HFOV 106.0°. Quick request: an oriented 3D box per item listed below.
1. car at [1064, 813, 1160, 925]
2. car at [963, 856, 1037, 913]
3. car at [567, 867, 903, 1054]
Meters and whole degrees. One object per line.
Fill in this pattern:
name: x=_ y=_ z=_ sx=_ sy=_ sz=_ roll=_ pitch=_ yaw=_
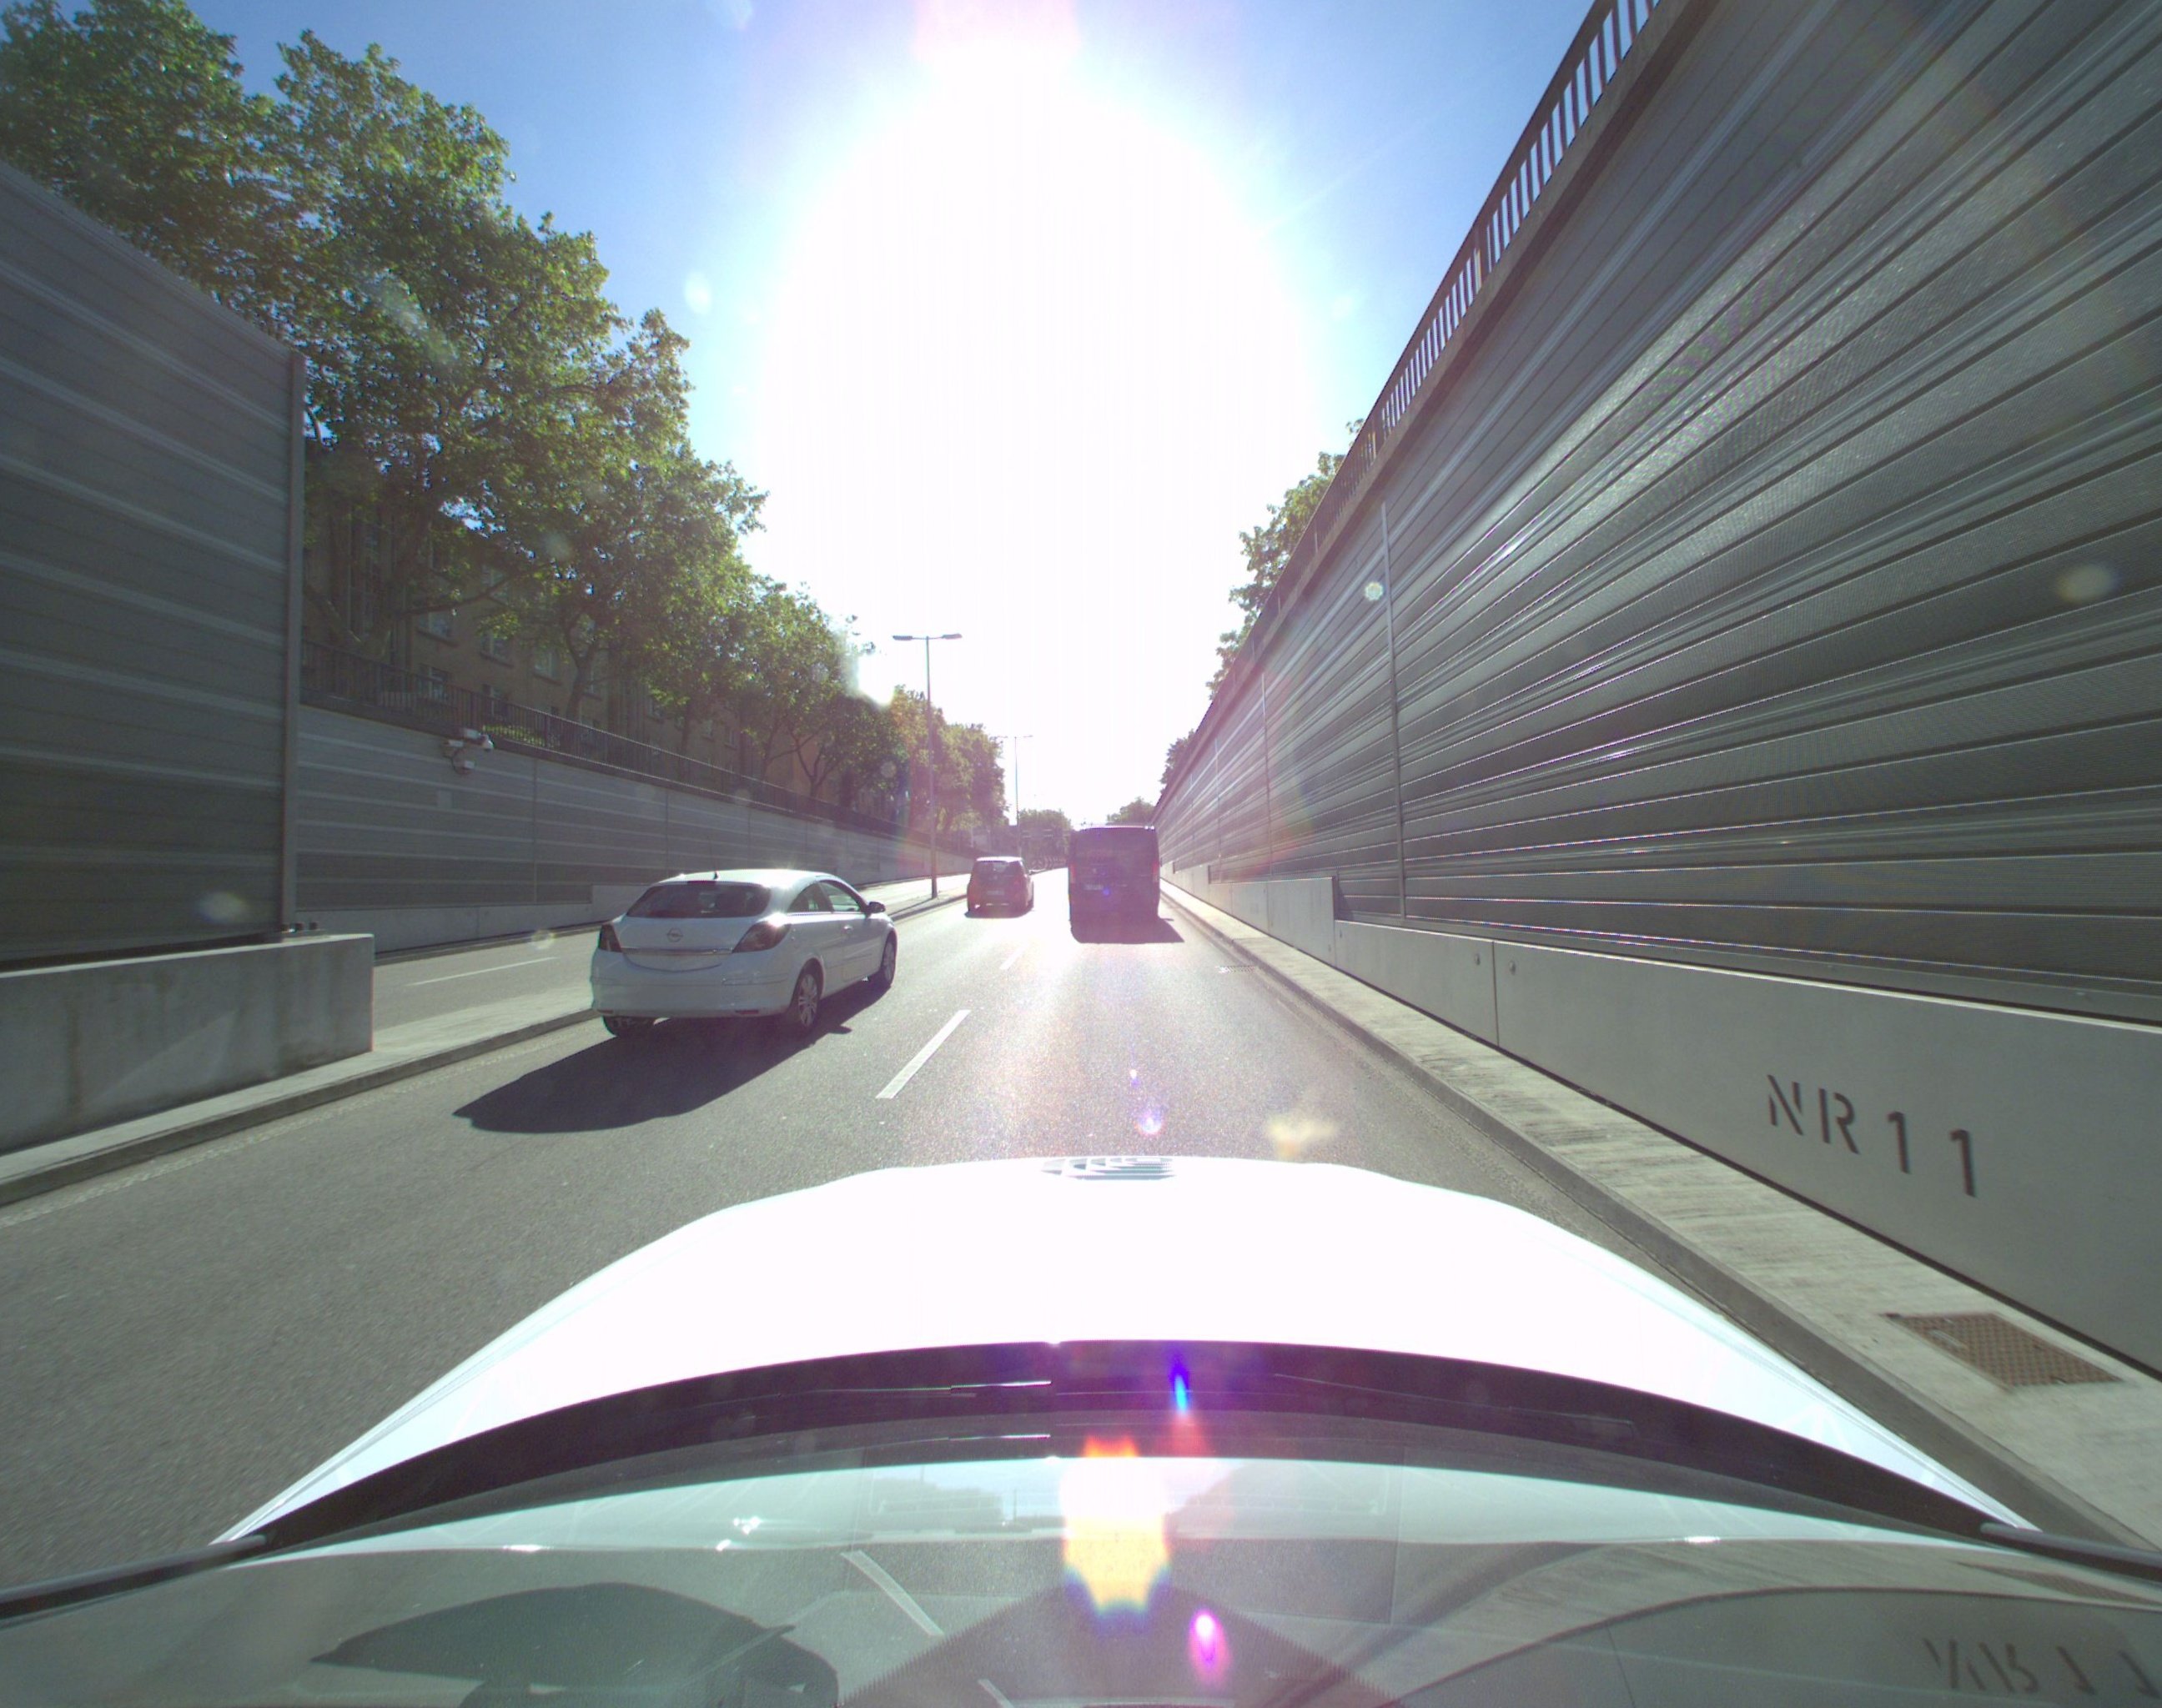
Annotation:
car: x=0.736 y=0.350 z=19.619 sx=2.022 sy=2.402 sz=3.974 roll=-1 pitch=-1 yaw=2
car: x=-2.241 y=0.808 z=23.243 sx=1.683 sy=1.483 sz=3.319 roll=0 pitch=0 yaw=1
car: x=-3.071 y=0.848 z=8.160 sx=1.613 sy=1.403 sz=3.853 roll=0 pitch=-1 yaw=2
